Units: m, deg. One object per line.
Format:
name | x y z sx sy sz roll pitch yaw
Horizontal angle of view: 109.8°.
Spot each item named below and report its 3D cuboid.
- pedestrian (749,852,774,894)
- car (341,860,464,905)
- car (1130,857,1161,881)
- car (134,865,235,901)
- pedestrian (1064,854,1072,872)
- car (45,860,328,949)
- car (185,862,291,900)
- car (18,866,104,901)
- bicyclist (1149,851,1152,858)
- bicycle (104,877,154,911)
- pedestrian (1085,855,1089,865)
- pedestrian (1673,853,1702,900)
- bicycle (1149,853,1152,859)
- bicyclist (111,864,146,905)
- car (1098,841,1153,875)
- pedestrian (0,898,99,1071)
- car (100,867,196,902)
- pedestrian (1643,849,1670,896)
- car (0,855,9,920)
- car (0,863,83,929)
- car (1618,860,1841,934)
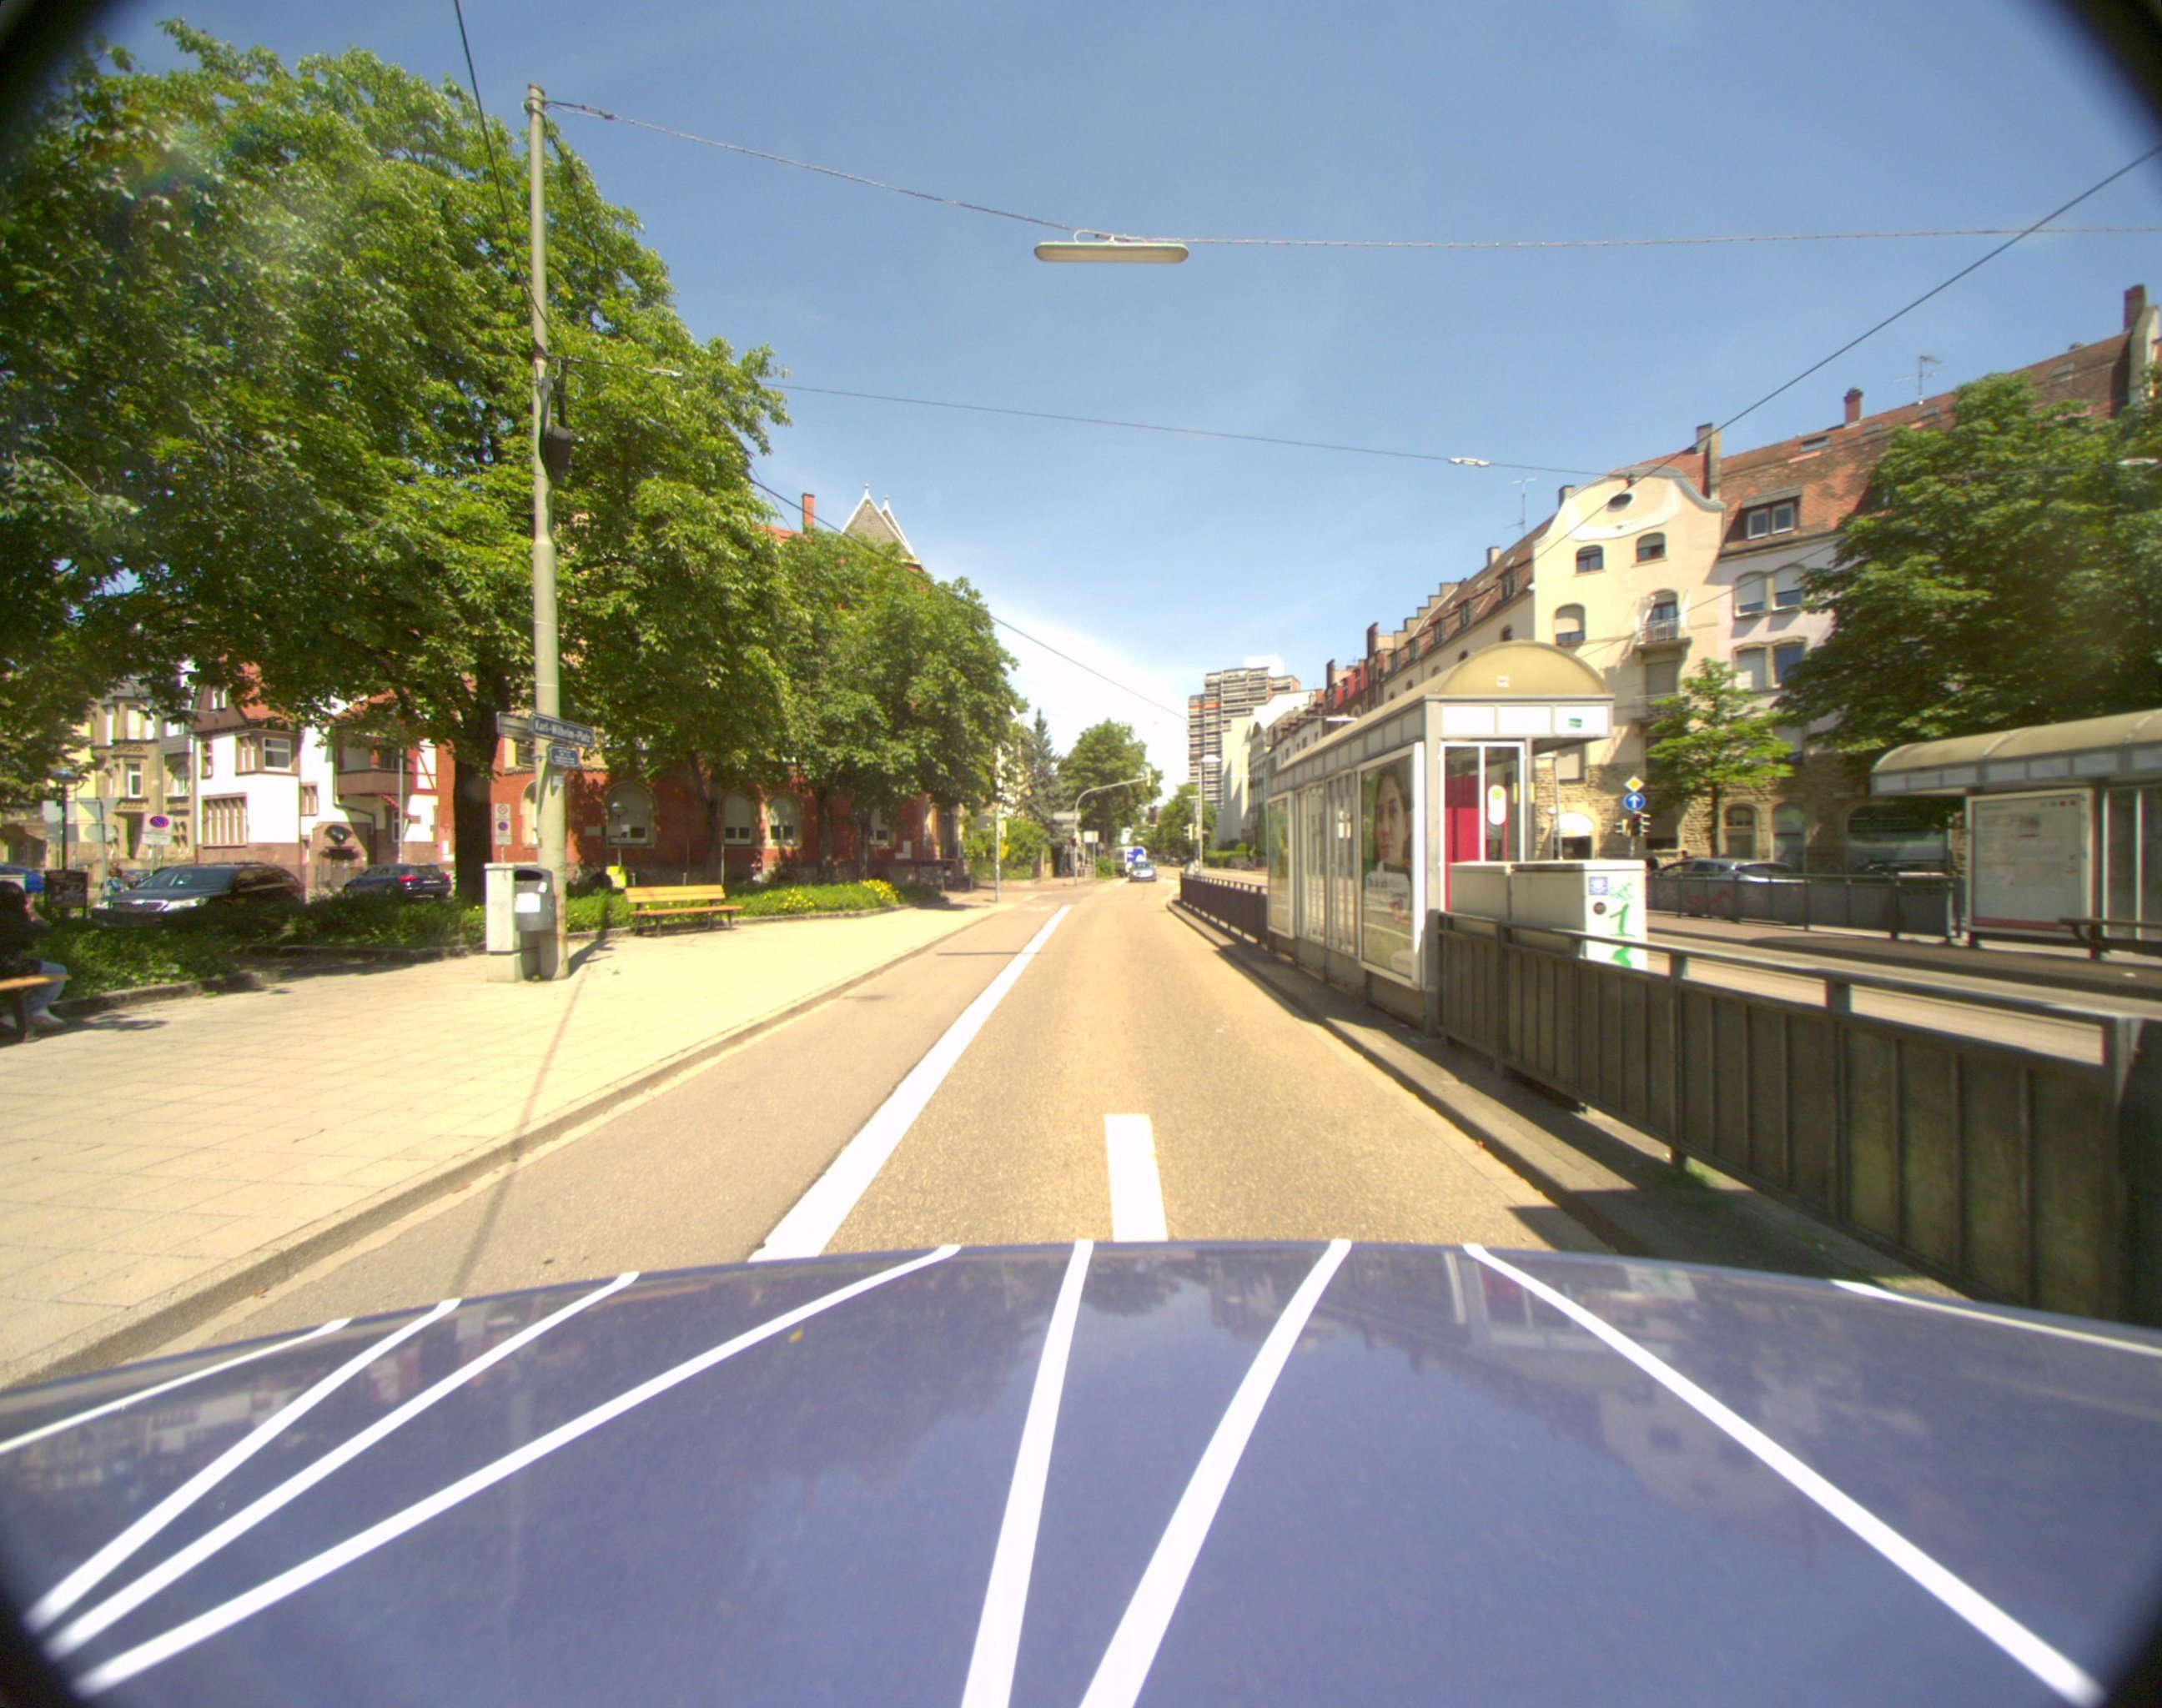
pedestrian | -13.813 0.815 32.892 0.840 1.813 0.672 -1 1 -37
car | -27.044 1.130 30.294 4.299 1.608 1.941 -2 1 23
car | 4.320 0.973 50.867 1.895 1.372 4.001 -2 1 5
car | -44.150 1.428 37.418 4.299 1.608 1.941 -2 1 23
pedestrian | -1.167 0.818 69.240 0.702 1.645 0.665 0 0 1
car | -19.490 0.985 16.949 1.939 1.608 4.517 -2 1 -18
car | -39.590 1.272 35.672 4.299 1.608 1.941 -2 1 23
car | -59.179 1.707 44.085 4.299 1.862 1.941 -2 1 23
bicyclist | 19.247 0.069 210.137 0.644 1.864 0.716 -2 1 -2
bicycle | -34.129 1.437 27.239 1.776 1.151 0.544 -2 1 20
pedestrian | 1.057 0.994 131.476 0.686 1.732 0.660 -2 1 3
pedestrian | 20.287 0.745 25.434 0.594 1.542 0.474 0 0 -1
bicycle | 19.273 0.517 210.153 0.644 1.503 1.970 -2 1 -2
bicyclist | -34.133 1.092 27.228 0.632 1.412 0.544 -2 1 21
car | 3.772 0.341 65.733 2.276 2.658 5.816 -3 1 -23
pedestrian | -7.742 0.909 5.425 0.566 1.136 0.725 0 1 -16
car | -48.424 1.569 39.440 4.299 1.608 1.941 -2 1 23
pedestrian | 20.048 0.648 26.481 0.594 1.637 0.474 0 0 1
car | -37.660 1.199 23.801 1.934 2.178 4.315 -2 1 23
car | -32.844 1.299 22.033 1.934 1.869 4.315 -2 1 23
car | 14.838 0.903 17.735 1.812 1.386 3.999 -2 1 1
